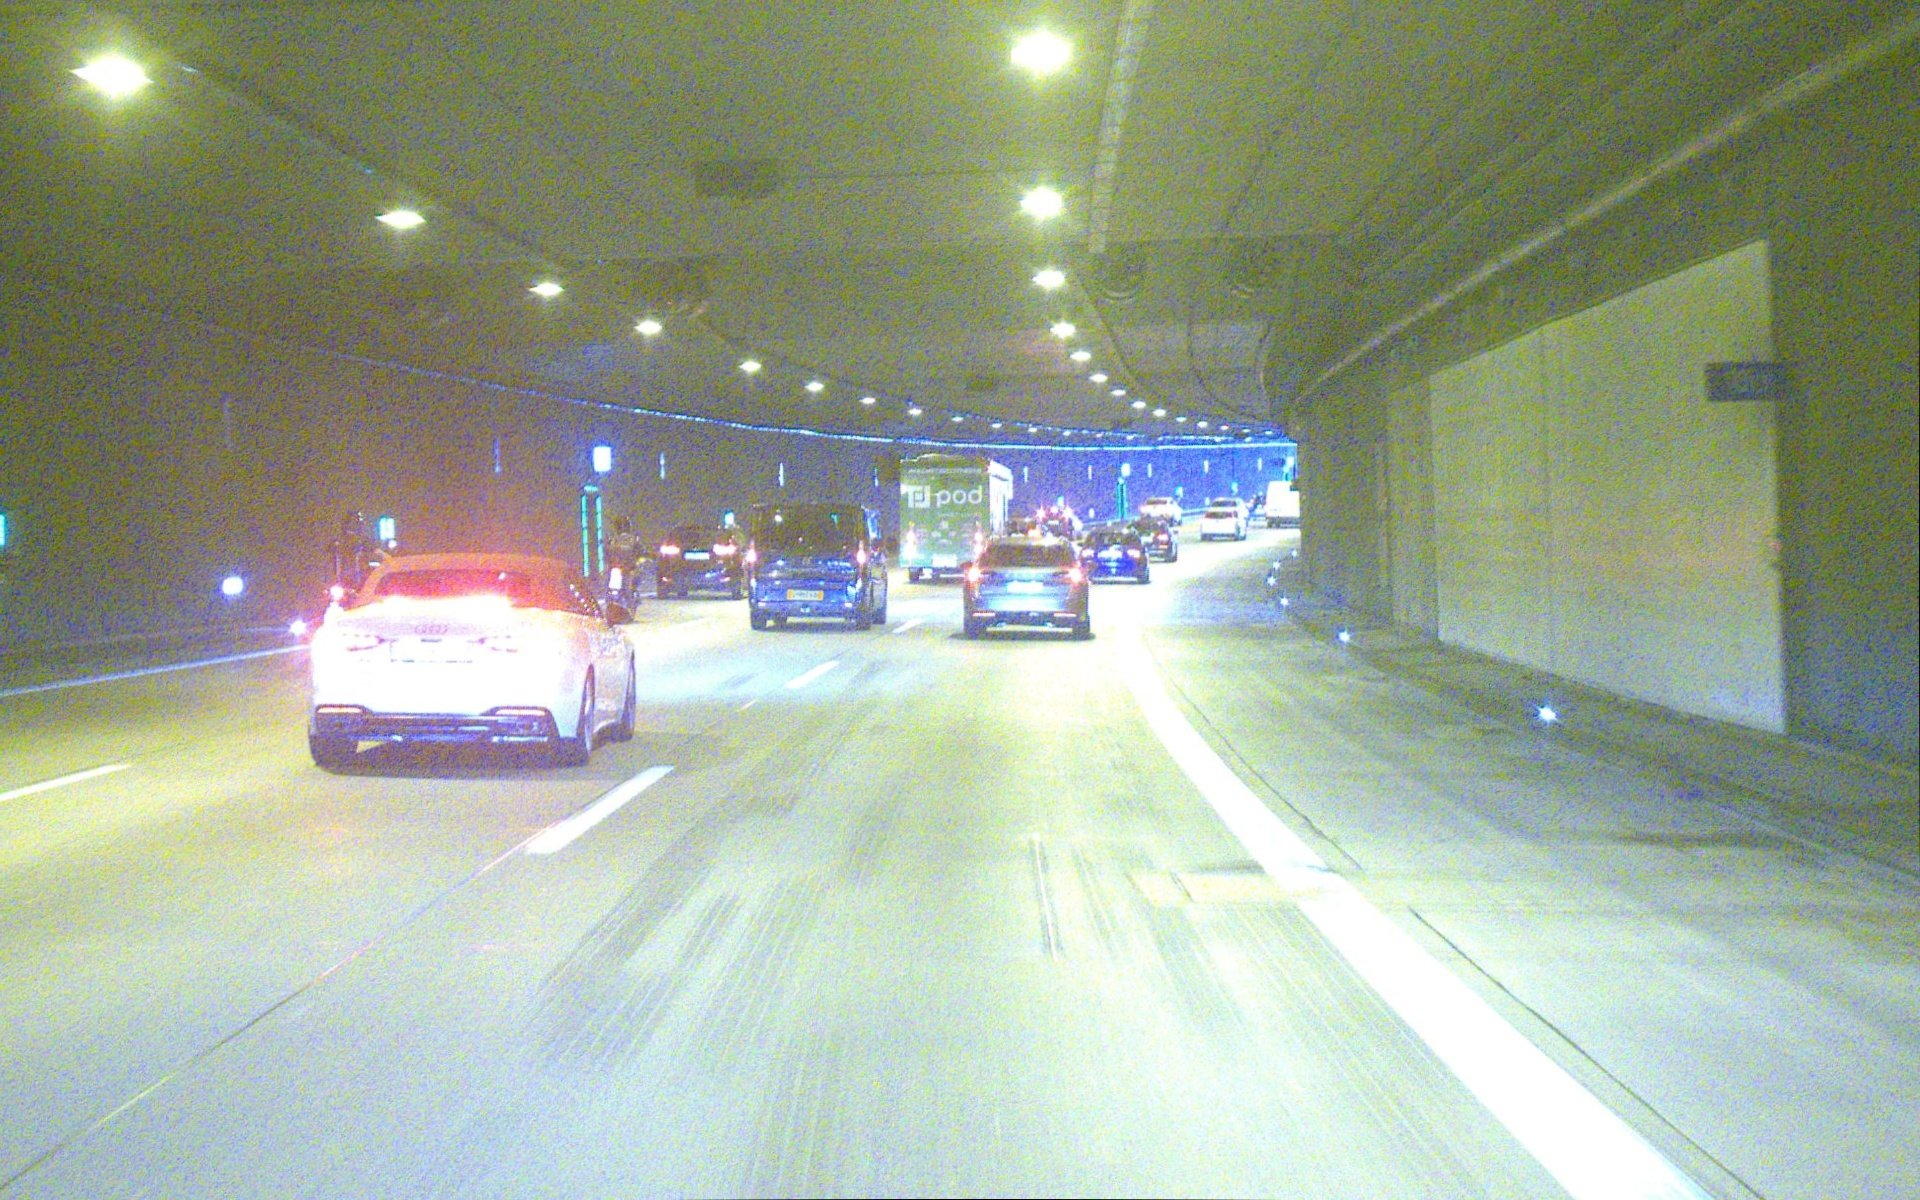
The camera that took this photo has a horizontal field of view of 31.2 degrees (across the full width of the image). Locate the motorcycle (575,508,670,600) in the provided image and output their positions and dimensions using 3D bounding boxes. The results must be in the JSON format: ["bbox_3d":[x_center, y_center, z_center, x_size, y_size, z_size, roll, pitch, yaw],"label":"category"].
[{"bbox_3d":[-5.389,-0.722,55.099,0.926,1.429,2.963,1,0,6],"label":"motorcycle"}]

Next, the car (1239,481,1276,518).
[{"bbox_3d":[17.370,-5.852,200.703,1.994,2.007,3.999,1,0,7],"label":"car"}]

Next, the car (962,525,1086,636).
[{"bbox_3d":[0.940,-0.314,50.206,1.742,1.459,3.871,0,3,1],"label":"car"}]

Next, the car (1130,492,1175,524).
[{"bbox_3d":[10.444,-4.966,186.281,1.931,1.637,3.998,1,0,10],"label":"car"}]

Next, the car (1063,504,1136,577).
[{"bbox_3d":[3.608,-1.539,89.154,1.857,1.848,4.000,0,1,2],"label":"car"}]

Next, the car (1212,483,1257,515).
[{"bbox_3d":[14.843,-5.467,185.903,1.994,1.626,3.998,1,0,10],"label":"car"}]

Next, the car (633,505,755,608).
[{"bbox_3d":[-5.335,-0.884,69.403,1.994,2.007,4.000,0,1,3],"label":"car"}]

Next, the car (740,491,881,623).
[{"bbox_3d":[-2.303,-0.707,53.874,1.910,1.937,3.871,0,3,2],"label":"car"}]

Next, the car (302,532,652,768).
[{"bbox_3d":[-3.250,0.266,24.041,1.702,1.414,5.060,0,2,0],"label":"car"}]

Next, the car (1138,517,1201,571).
[{"bbox_3d":[7.079,-1.884,116.235,1.950,1.766,4.000,1,0,1],"label":"car"}]

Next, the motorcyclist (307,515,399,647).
[{"bbox_3d":[-6.794,-0.209,38.516,0.777,1.447,1.069,1,0,4],"label":"motorcyclist"}]

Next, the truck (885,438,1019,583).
[{"bbox_3d":[-0.148,-2.325,90.306,3.039,3.660,7.392,0,1,4],"label":"truck"}]

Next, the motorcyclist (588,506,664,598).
[{"bbox_3d":[-5.358,-0.754,55.252,0.806,1.443,1.865,0,0,7],"label":"motorcyclist"}]

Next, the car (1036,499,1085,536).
[{"bbox_3d":[4.518,-3.709,154.226,1.931,1.637,3.999,0,1,6],"label":"car"}]

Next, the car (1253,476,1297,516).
[{"bbox_3d":[16.842,-5.565,183.746,1.994,2.007,3.998,1,0,10],"label":"car"}]

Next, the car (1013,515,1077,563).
[{"bbox_3d":[3.046,-2.175,122.442,1.994,1.626,3.999,1,1,6],"label":"car"}]

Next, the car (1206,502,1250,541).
[{"bbox_3d":[12.032,-3.509,154.452,1.931,1.637,3.999,1,0,4],"label":"car"}]

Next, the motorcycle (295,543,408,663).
[{"bbox_3d":[-6.798,0.020,38.510,0.683,1.292,2.398,0,1,4],"label":"motorcycle"}]
